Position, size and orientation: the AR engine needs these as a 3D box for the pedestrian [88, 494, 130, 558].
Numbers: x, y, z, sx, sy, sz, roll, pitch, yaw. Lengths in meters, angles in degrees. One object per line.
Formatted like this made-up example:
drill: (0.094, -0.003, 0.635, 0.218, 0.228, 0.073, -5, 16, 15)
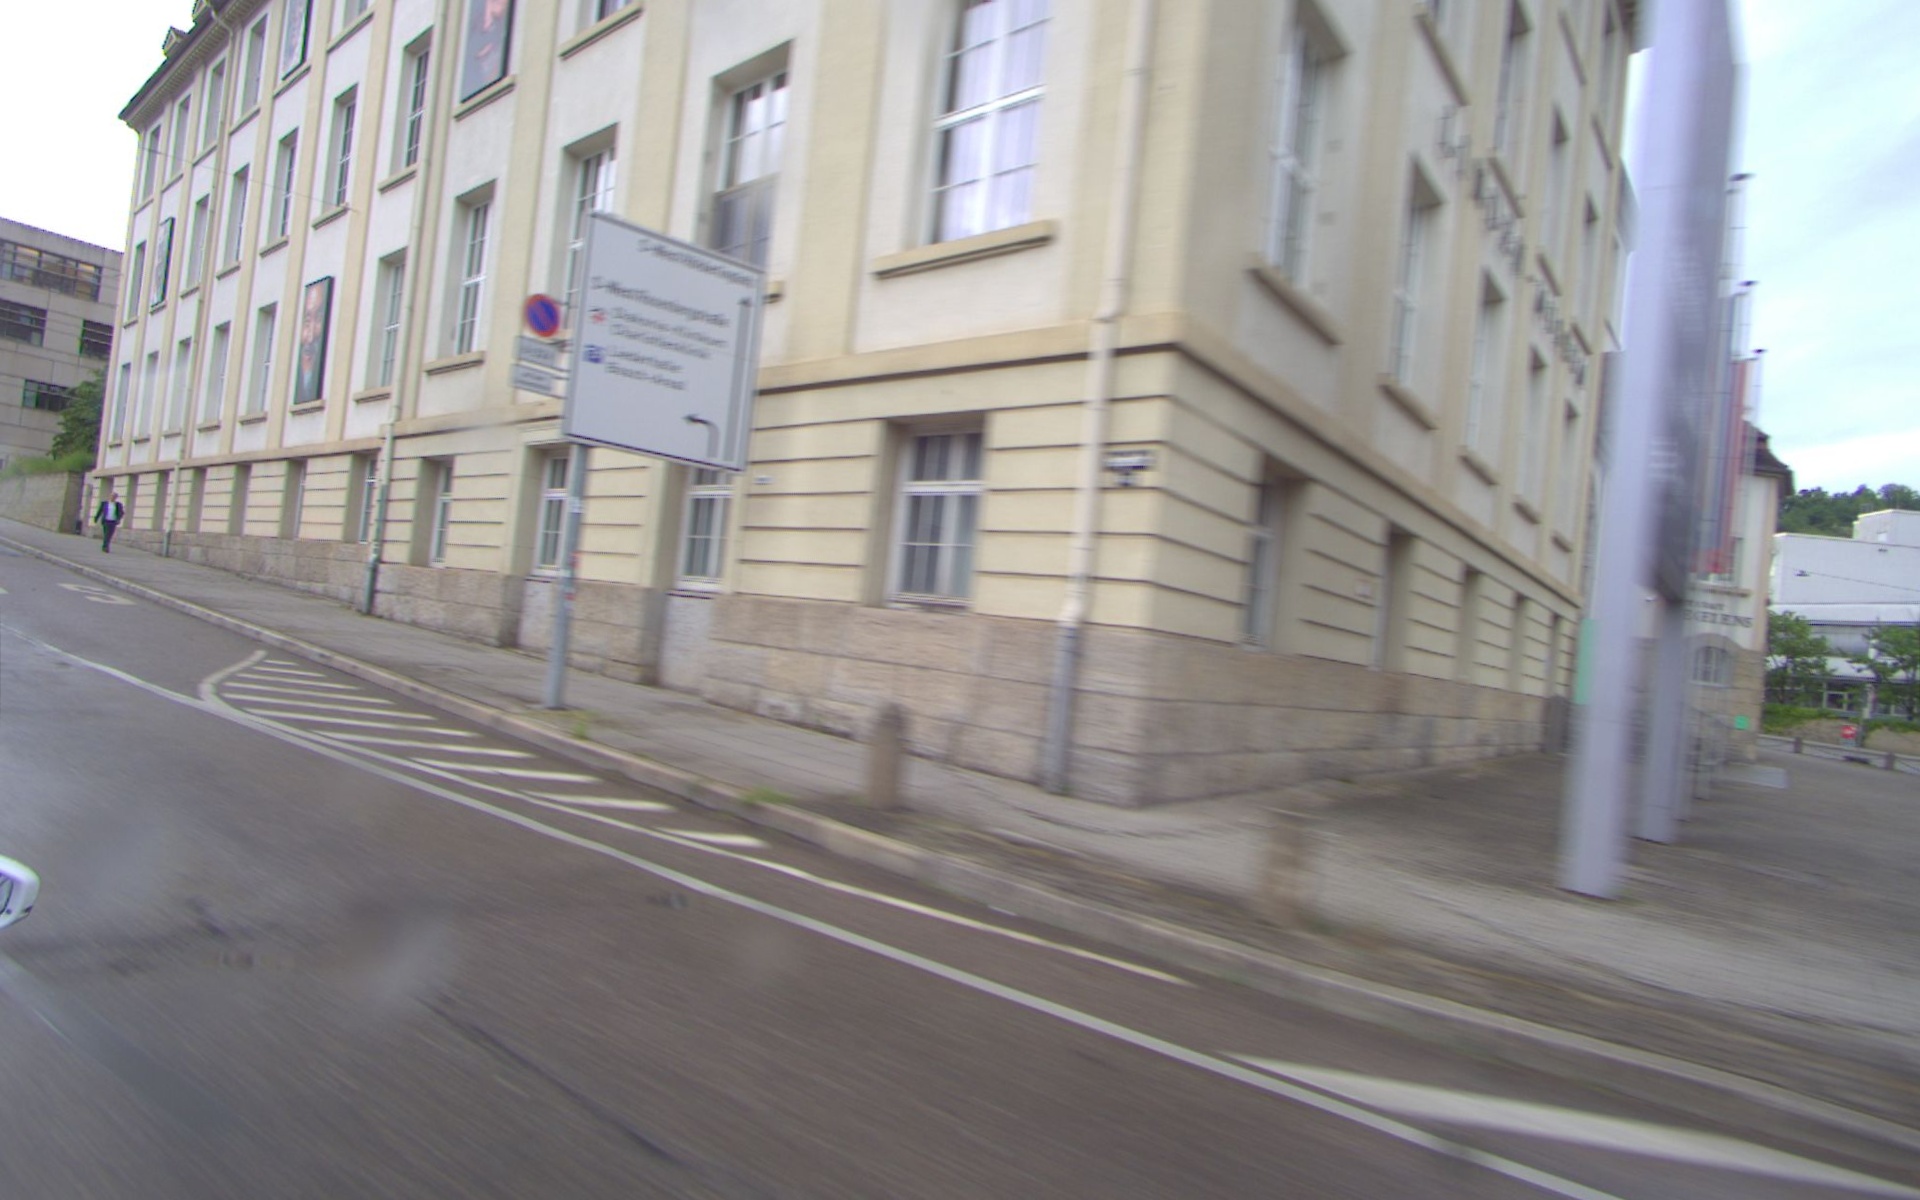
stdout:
pedestrian: (-25.857, -2.251, 30.554, 0.840, 1.818, 0.669, 6, -2, 42)
